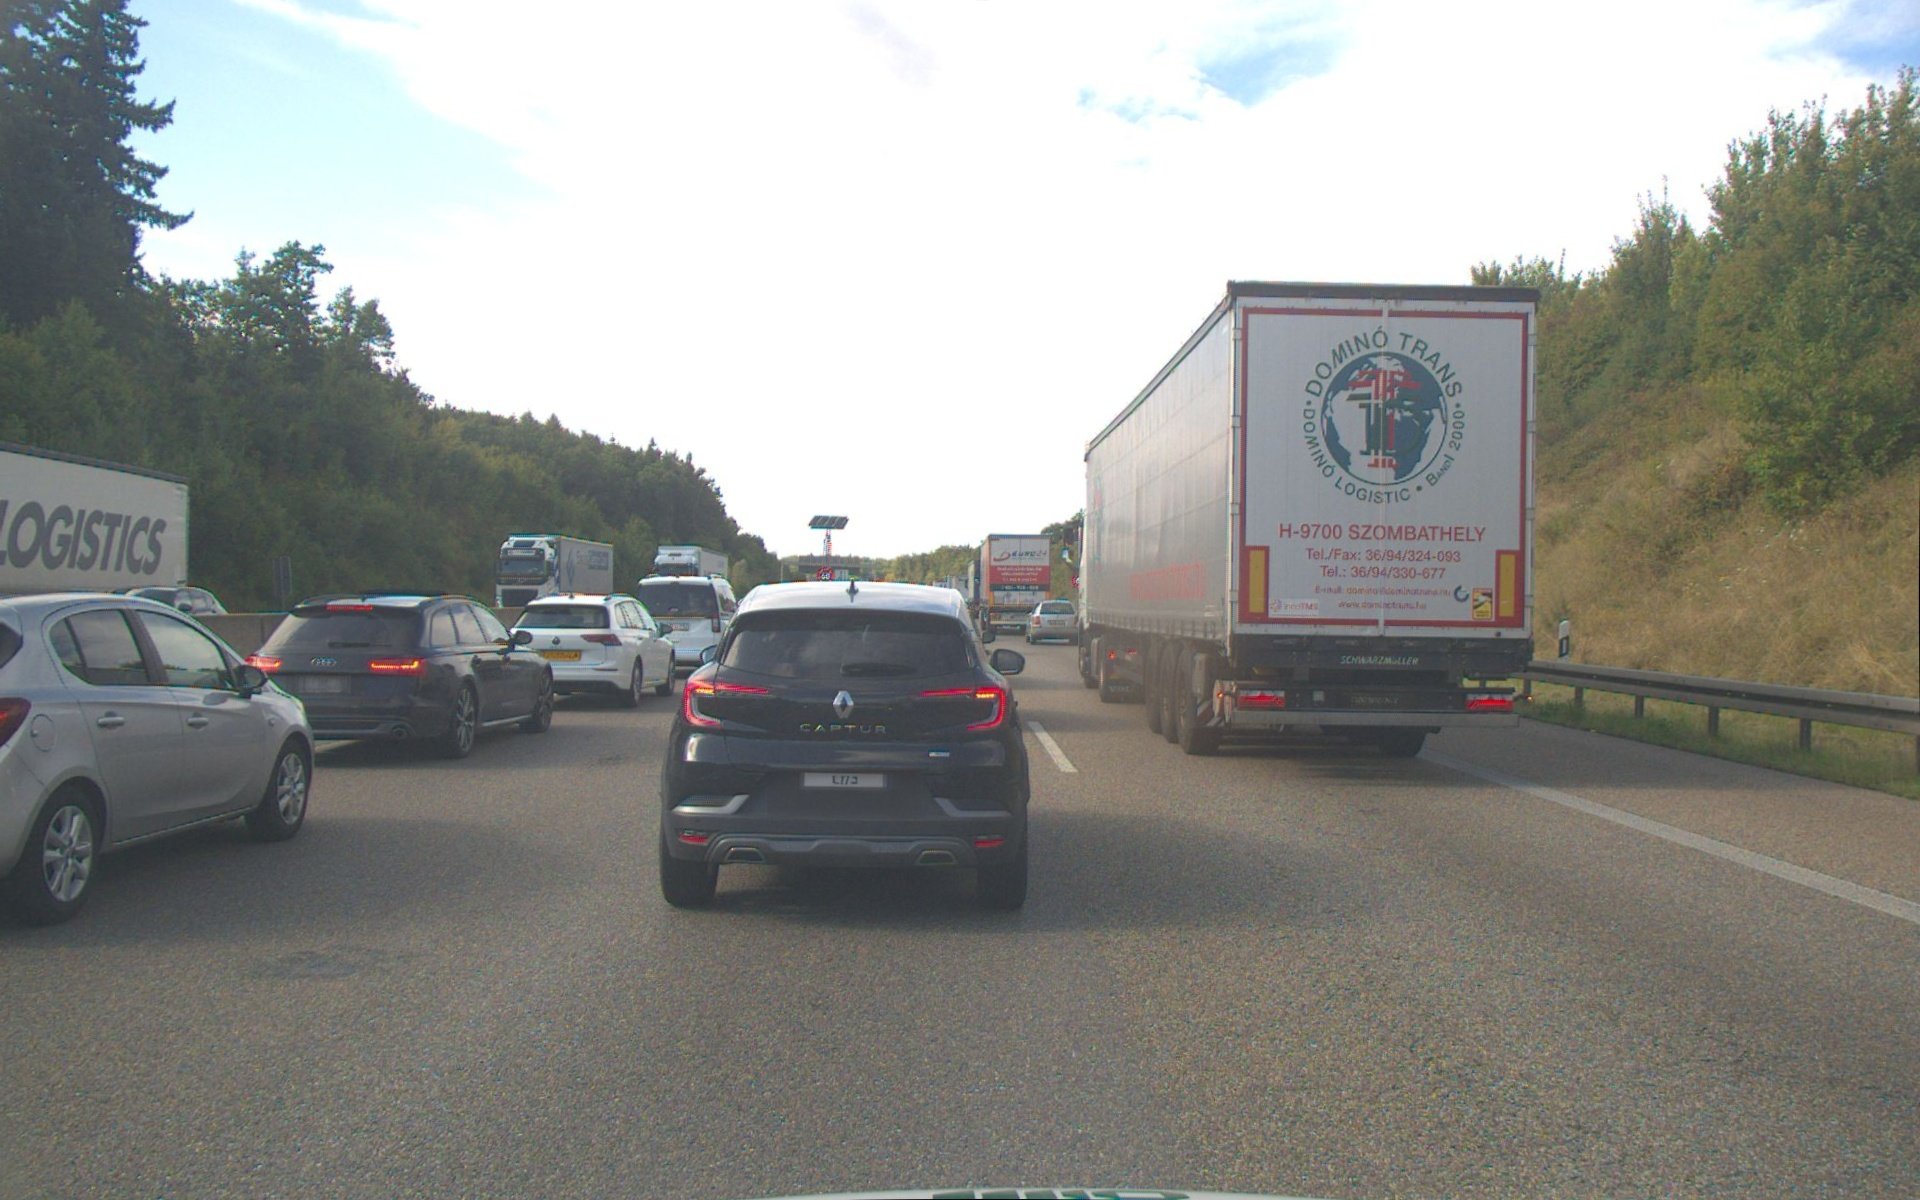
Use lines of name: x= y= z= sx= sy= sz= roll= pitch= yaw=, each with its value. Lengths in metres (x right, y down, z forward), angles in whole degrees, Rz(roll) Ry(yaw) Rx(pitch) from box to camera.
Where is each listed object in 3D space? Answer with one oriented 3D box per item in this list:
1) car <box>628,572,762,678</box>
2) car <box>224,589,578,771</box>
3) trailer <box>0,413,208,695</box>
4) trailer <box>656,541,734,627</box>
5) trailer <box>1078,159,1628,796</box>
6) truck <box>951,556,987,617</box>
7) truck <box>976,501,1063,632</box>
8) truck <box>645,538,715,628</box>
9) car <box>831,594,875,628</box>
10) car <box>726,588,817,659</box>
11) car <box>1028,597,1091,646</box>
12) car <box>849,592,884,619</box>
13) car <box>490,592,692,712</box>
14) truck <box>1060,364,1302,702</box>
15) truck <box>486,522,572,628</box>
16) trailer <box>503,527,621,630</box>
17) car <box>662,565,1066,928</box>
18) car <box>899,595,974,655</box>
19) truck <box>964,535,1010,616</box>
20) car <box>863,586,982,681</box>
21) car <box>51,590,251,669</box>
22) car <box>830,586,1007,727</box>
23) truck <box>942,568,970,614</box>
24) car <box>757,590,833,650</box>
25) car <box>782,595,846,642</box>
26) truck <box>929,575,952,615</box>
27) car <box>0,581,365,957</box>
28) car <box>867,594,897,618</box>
car: x=-4.879 y=0.452 z=31.011 sx=1.873 sy=1.821 sz=4.416 roll=1 pitch=0 yaw=-2
car: x=-5.167 y=0.653 z=16.043 sx=1.805 sy=1.481 sz=4.747 roll=1 pitch=0 yaw=0
trailer: x=-19.848 y=-0.888 z=33.505 sx=2.980 sy=5.373 sz=13.832 roll=1 pitch=0 yaw=-1
trailer: x=-16.901 y=-0.928 z=106.542 sx=3.025 sy=5.162 sz=13.831 roll=1 pitch=0 yaw=-1
trailer: x=3.431 y=-0.936 z=19.063 sx=2.941 sy=4.742 sz=13.287 roll=1 pitch=0 yaw=-1
truck: x=0.971 y=-1.221 z=160.264 sx=3.101 sy=5.601 sz=12.739 roll=1 pitch=0 yaw=2
truck: x=2.430 y=-1.283 z=71.935 sx=3.296 sy=5.132 sz=12.736 roll=1 pitch=0 yaw=0
truck: x=-16.769 y=-0.981 z=99.539 sx=3.025 sy=5.190 sz=7.139 roll=1 pitch=0 yaw=-1
car: x=-5.413 y=0.536 z=84.271 sx=1.953 sy=1.641 sz=4.000 roll=1 pitch=0 yaw=0
car: x=-4.720 y=0.581 z=41.899 sx=1.817 sy=1.669 sz=3.925 roll=1 pitch=0 yaw=0
car: x=3.294 y=0.715 z=55.617 sx=1.768 sy=1.559 sz=3.924 roll=1 pitch=0 yaw=-2
car: x=-5.781 y=0.315 z=102.534 sx=1.953 sy=1.641 sz=4.000 roll=1 pitch=0 yaw=0
car: x=-4.967 y=0.659 z=22.834 sx=1.767 sy=1.486 sz=4.308 roll=1 pitch=0 yaw=1
truck: x=3.313 y=-0.953 z=26.359 sx=2.936 sy=4.749 sz=5.938 roll=1 pitch=0 yaw=-1
truck: x=-20.734 y=-1.161 z=79.810 sx=2.872 sy=4.944 sz=4.764 roll=1 pitch=-1 yaw=-1
trailer: x=-20.817 y=-1.003 z=87.613 sx=2.867 sy=4.914 sz=14.650 roll=1 pitch=0 yaw=-1
car: x=-0.361 y=0.643 z=9.262 sx=1.767 sy=1.579 sz=4.001 roll=0 pitch=0 yaw=2
car: x=-0.620 y=0.672 z=45.473 sx=1.953 sy=1.540 sz=4.000 roll=1 pitch=0 yaw=0
truck: x=1.902 y=-1.681 z=121.836 sx=3.102 sy=5.601 sz=12.736 roll=1 pitch=0 yaw=0
car: x=-0.623 y=0.567 z=29.319 sx=1.953 sy=1.540 sz=4.000 roll=1 pitch=0 yaw=0
car: x=-16.128 y=0.557 z=33.252 sx=1.914 sy=1.453 sz=4.323 roll=1 pitch=0 yaw=-1
car: x=-0.466 y=0.644 z=20.449 sx=1.953 sy=1.540 sz=4.000 roll=1 pitch=0 yaw=0
truck: x=-0.471 y=-0.975 z=194.965 sx=3.102 sy=5.250 sz=12.736 roll=1 pitch=0 yaw=0
car: x=-5.124 y=0.618 z=51.772 sx=1.953 sy=1.752 sz=4.000 roll=1 pitch=0 yaw=0
car: x=-5.306 y=0.672 z=60.567 sx=1.953 sy=1.641 sz=4.000 roll=1 pitch=0 yaw=0
truck: x=-2.785 y=-0.711 z=241.418 sx=3.102 sy=5.601 sz=12.736 roll=1 pitch=0 yaw=0
car: x=-4.648 y=0.656 z=8.552 sx=1.711 sy=1.491 sz=4.040 roll=0 pitch=0 yaw=-1
car: x=-5.517 y=0.392 z=117.259 sx=1.953 sy=1.641 sz=4.000 roll=1 pitch=0 yaw=0
